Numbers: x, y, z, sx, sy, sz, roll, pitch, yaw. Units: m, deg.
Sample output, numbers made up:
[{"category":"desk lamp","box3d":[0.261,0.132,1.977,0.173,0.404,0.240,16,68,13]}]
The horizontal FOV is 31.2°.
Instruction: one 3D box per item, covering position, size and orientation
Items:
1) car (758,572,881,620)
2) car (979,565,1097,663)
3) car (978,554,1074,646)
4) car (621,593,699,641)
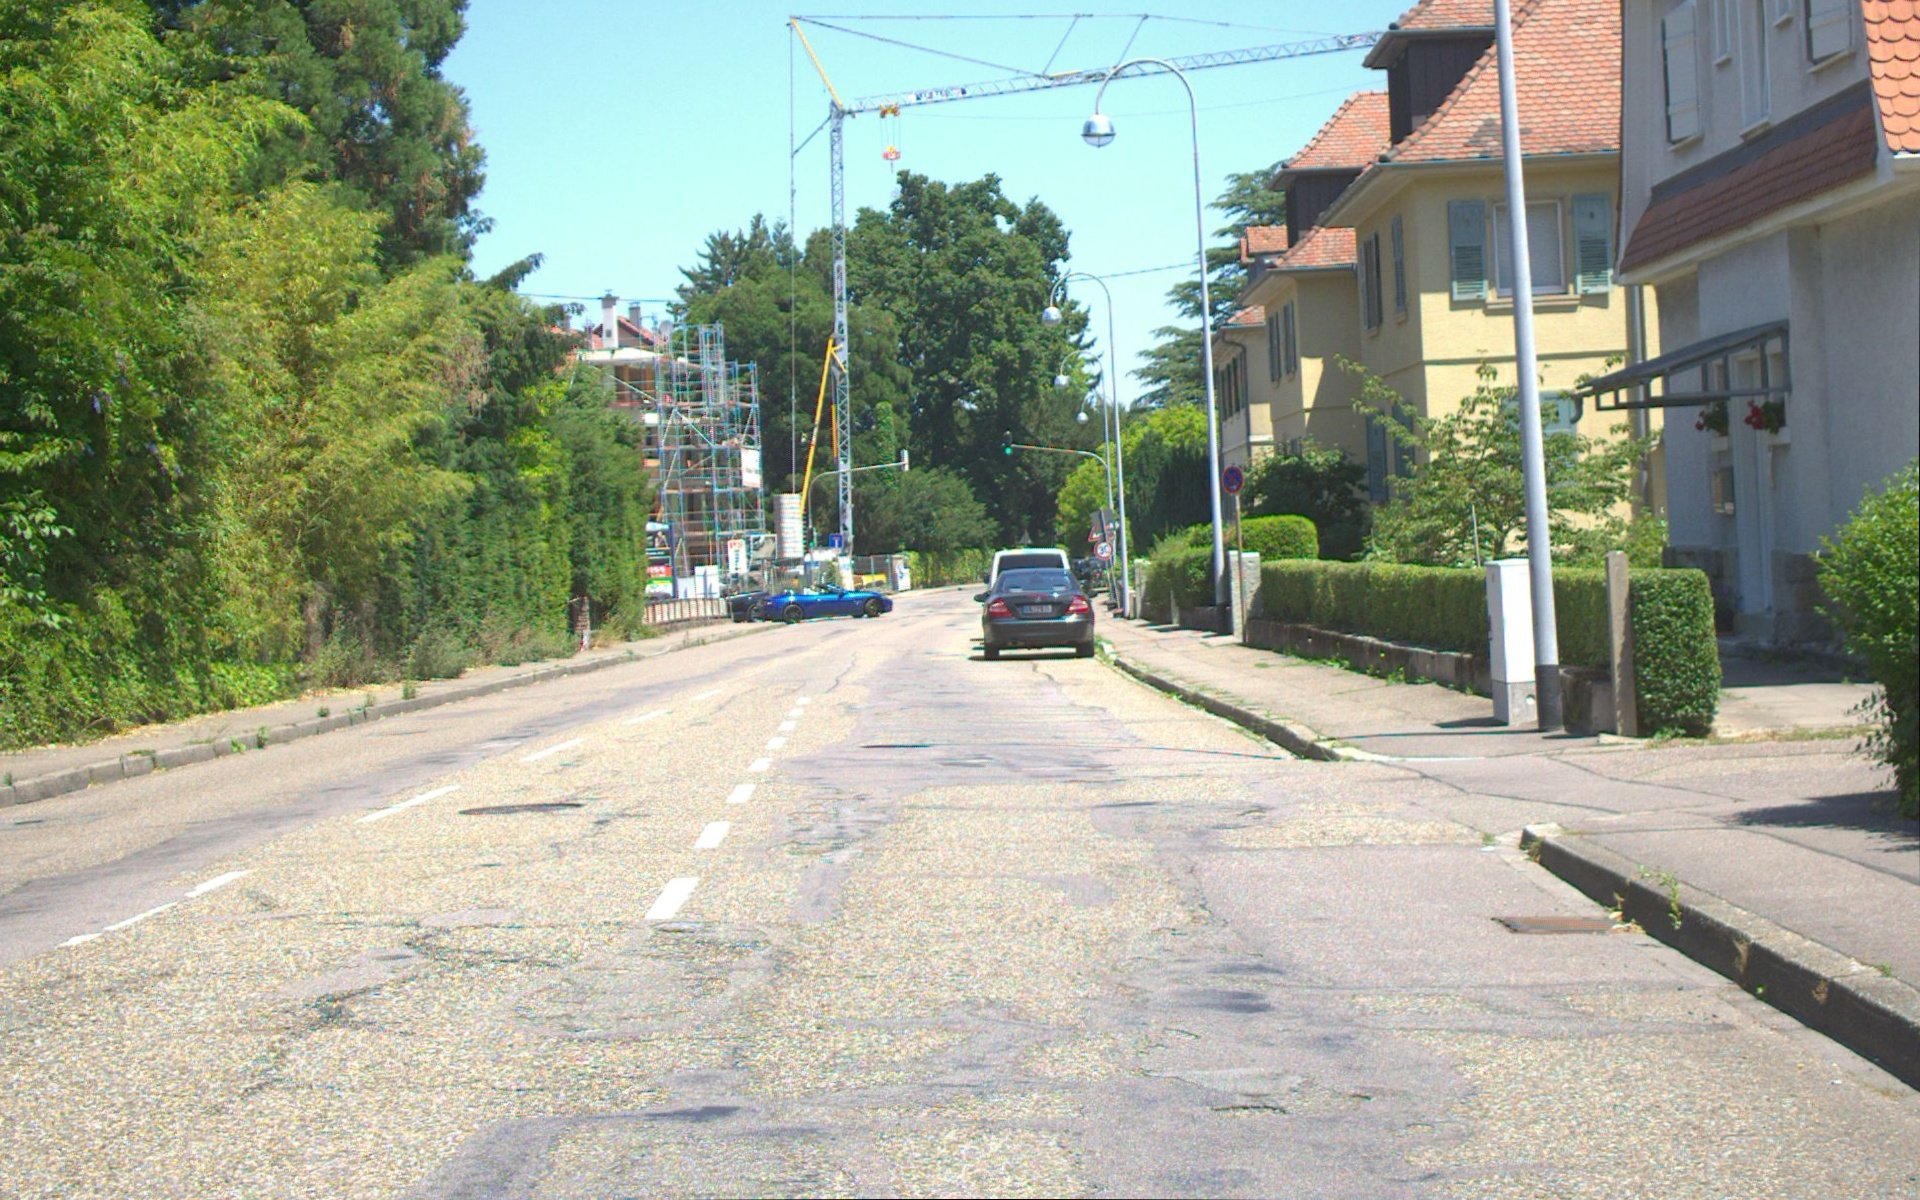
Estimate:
[{"category":"car","box3d":[-4.933,-0.150,120.187,3.986,1.463,1.965,-3,2,-11]},{"category":"car","box3d":[1.197,0.216,54.192,1.692,1.414,4.551,-2,0,0]},{"category":"car","box3d":[1.390,-0.012,74.010,1.993,1.894,4.822,0,0,0]},{"category":"car","box3d":[-9.364,0.518,107.514,1.660,1.384,3.534,-3,0,7]}]
